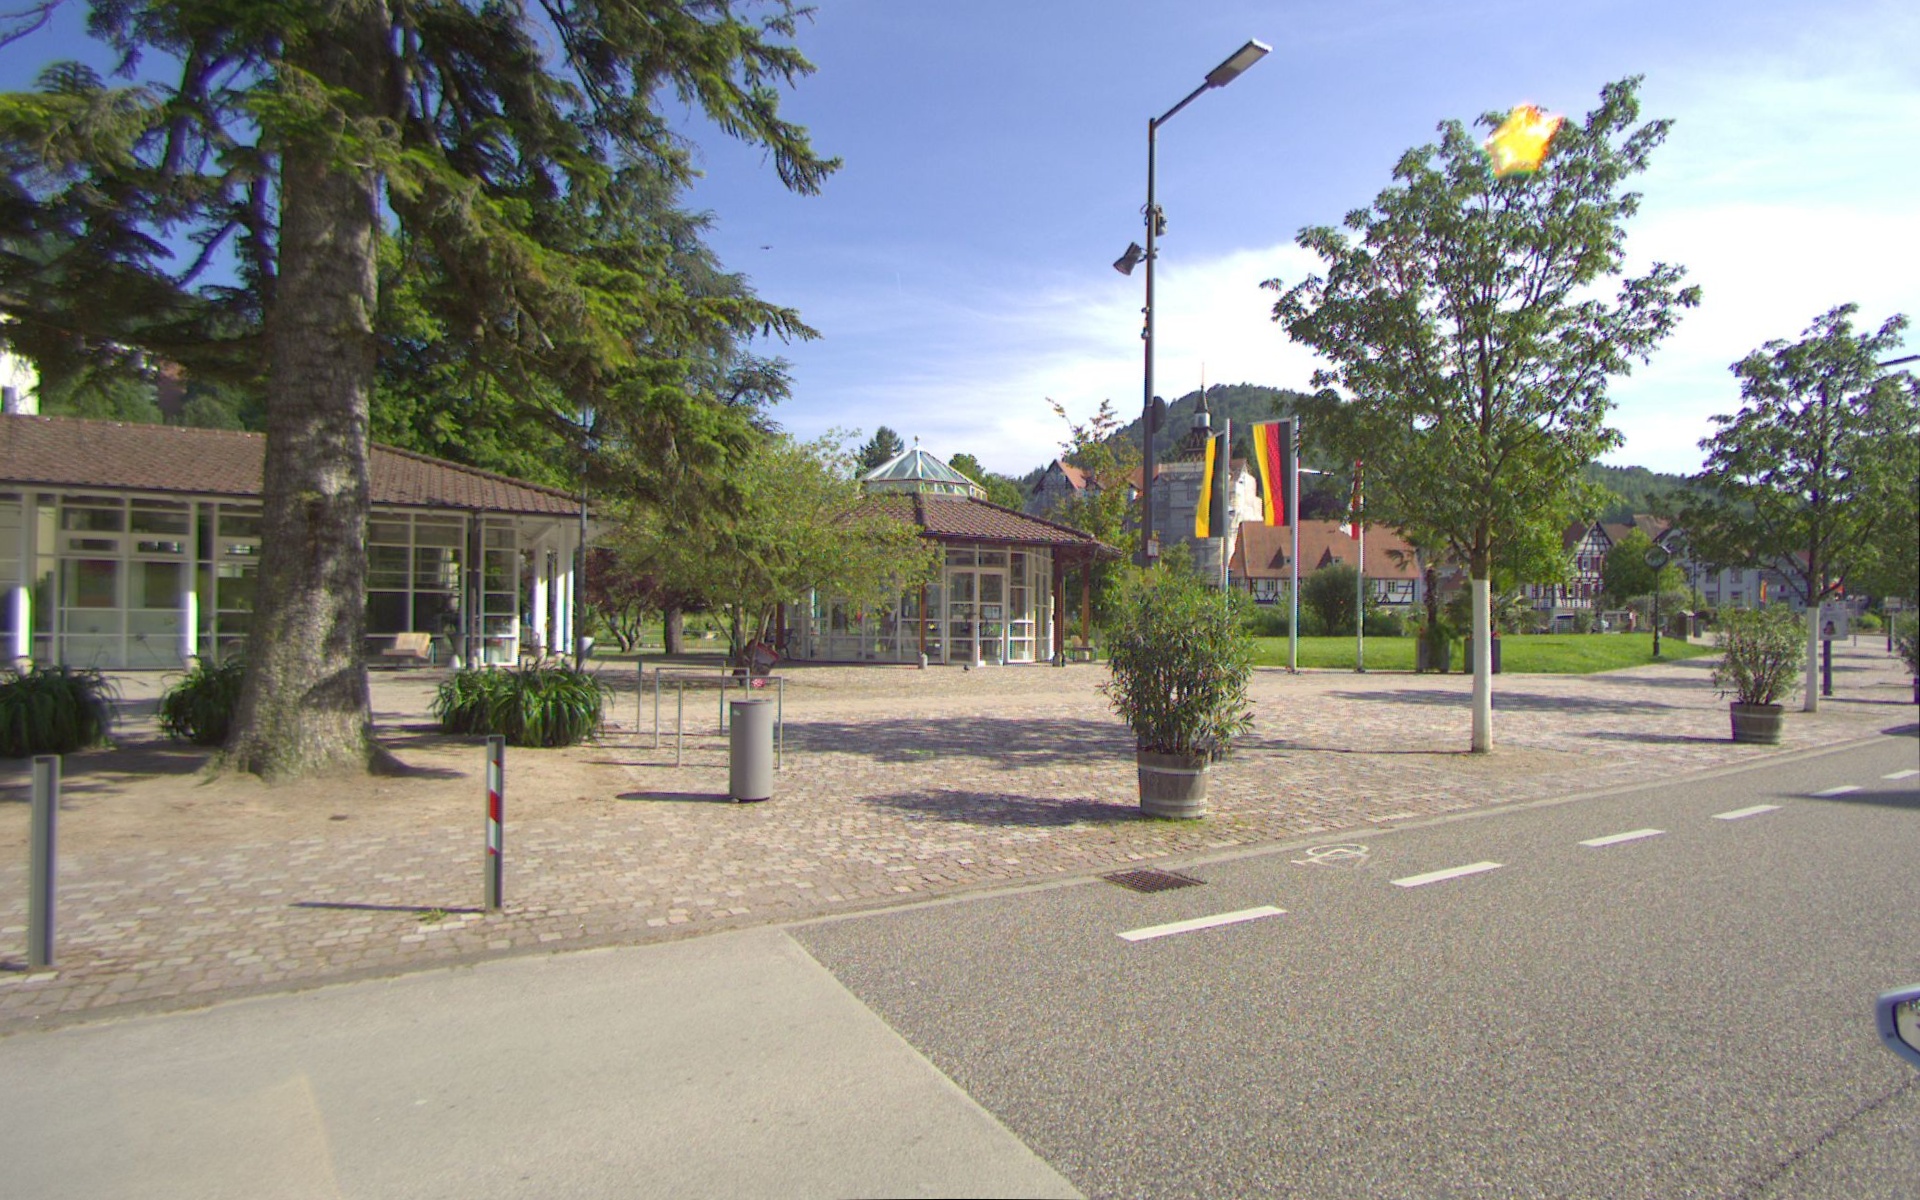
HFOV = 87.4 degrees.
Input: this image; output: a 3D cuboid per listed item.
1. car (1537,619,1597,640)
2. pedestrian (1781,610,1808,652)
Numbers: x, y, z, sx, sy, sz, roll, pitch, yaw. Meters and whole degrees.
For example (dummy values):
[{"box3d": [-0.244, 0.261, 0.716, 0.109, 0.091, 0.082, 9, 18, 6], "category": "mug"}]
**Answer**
[{"box3d": [49.719, 2.415, 82.331, 4.106, 1.638, 1.688, 1, -1, 27], "category": "car"}, {"box3d": [36.785, 1.364, 44.295, 0.855, 1.839, 0.689, 1, 0, 35], "category": "pedestrian"}]
